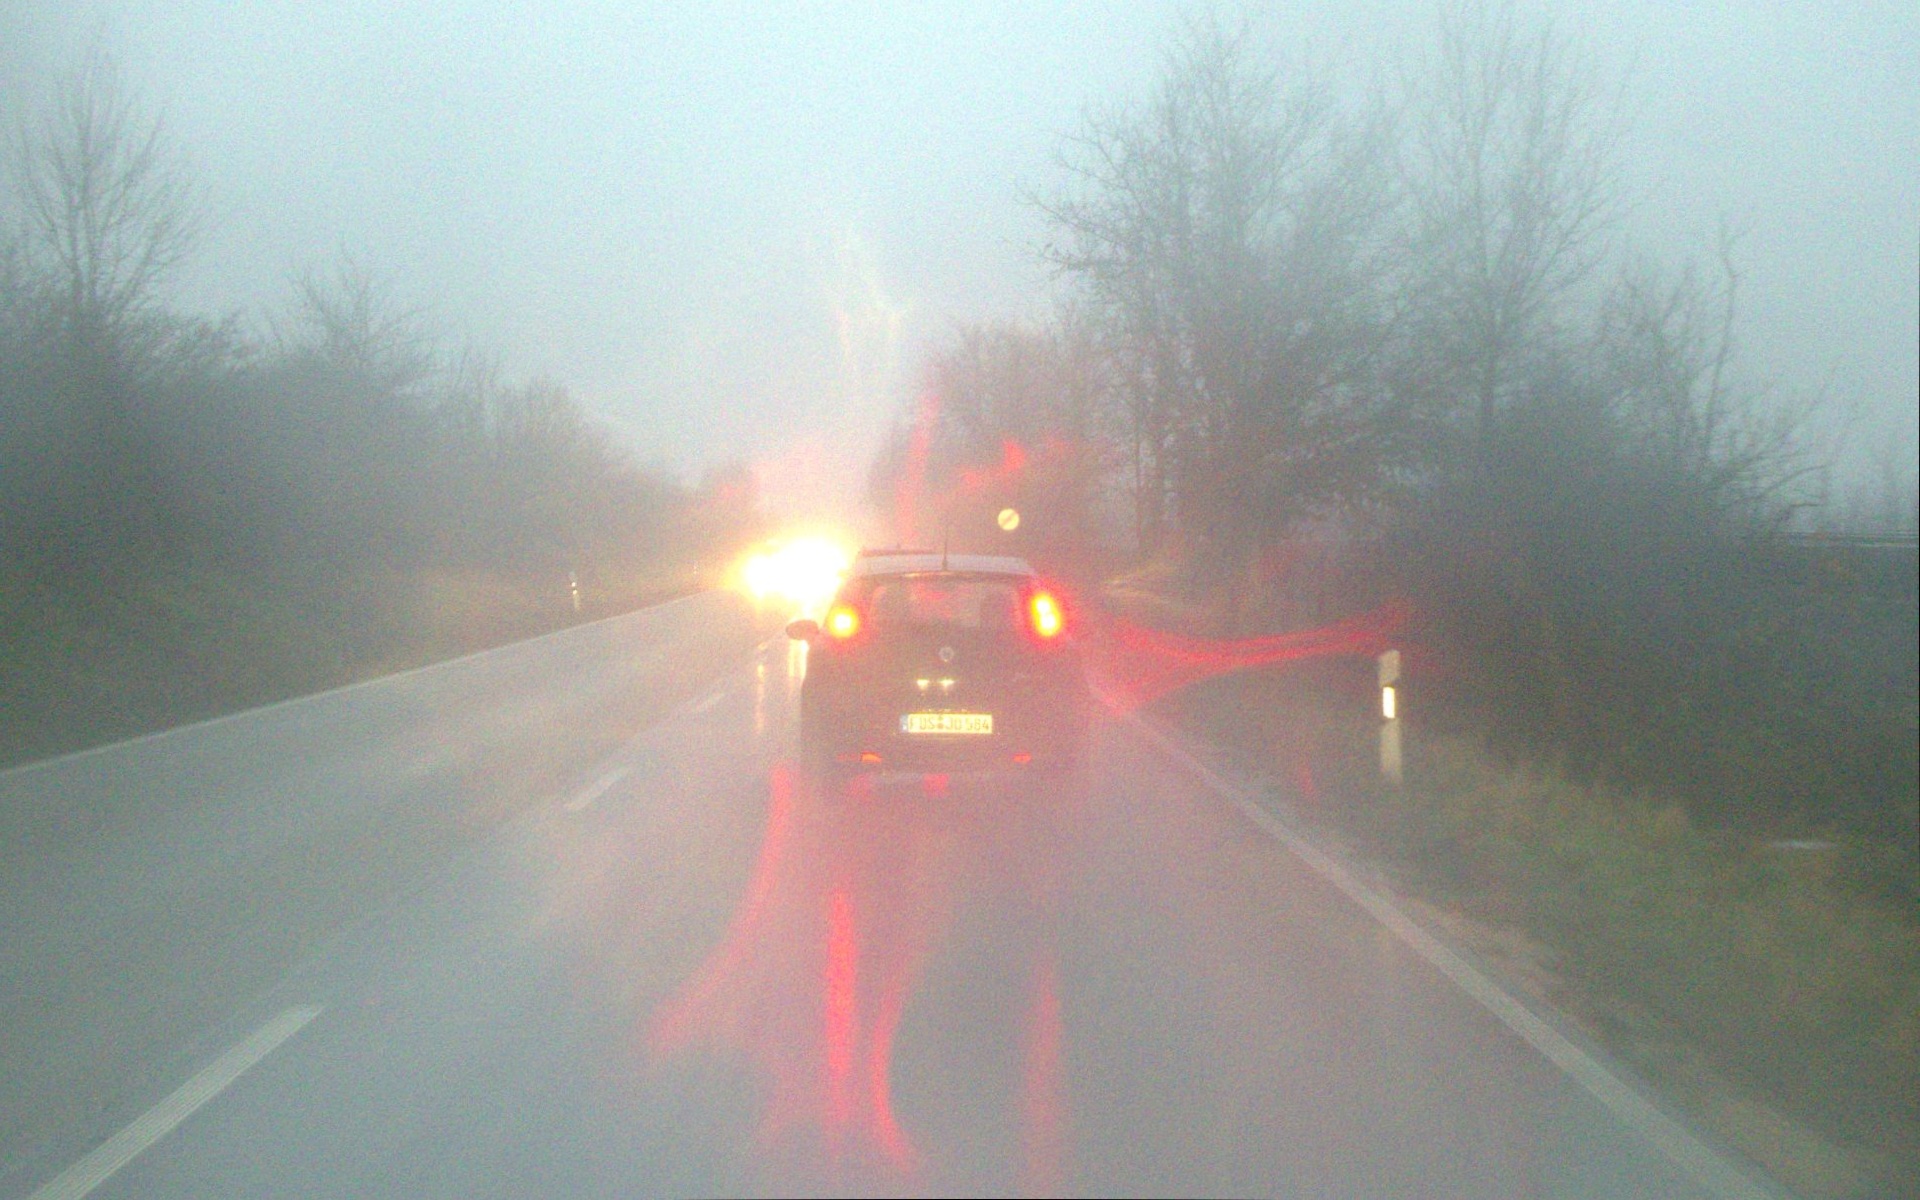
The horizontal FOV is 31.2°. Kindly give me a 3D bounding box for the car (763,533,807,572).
[{"bbox_3d":[-7.196,-1.954,141.664,1.691,1.525,4.086,1,1,-2],"label":"car"}]

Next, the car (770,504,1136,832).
[{"bbox_3d":[-0.054,0.353,21.033,1.993,1.778,4.000,1,1,0],"label":"car"}]

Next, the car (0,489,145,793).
[{"bbox_3d":[-6.606,0.205,21.661,1.993,1.778,4.000,1,1,0],"label":"car"}]

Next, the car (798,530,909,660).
[{"bbox_3d":[-1.593,-0.095,52.262,1.574,1.868,3.709,1,1,0],"label":"car"}]
